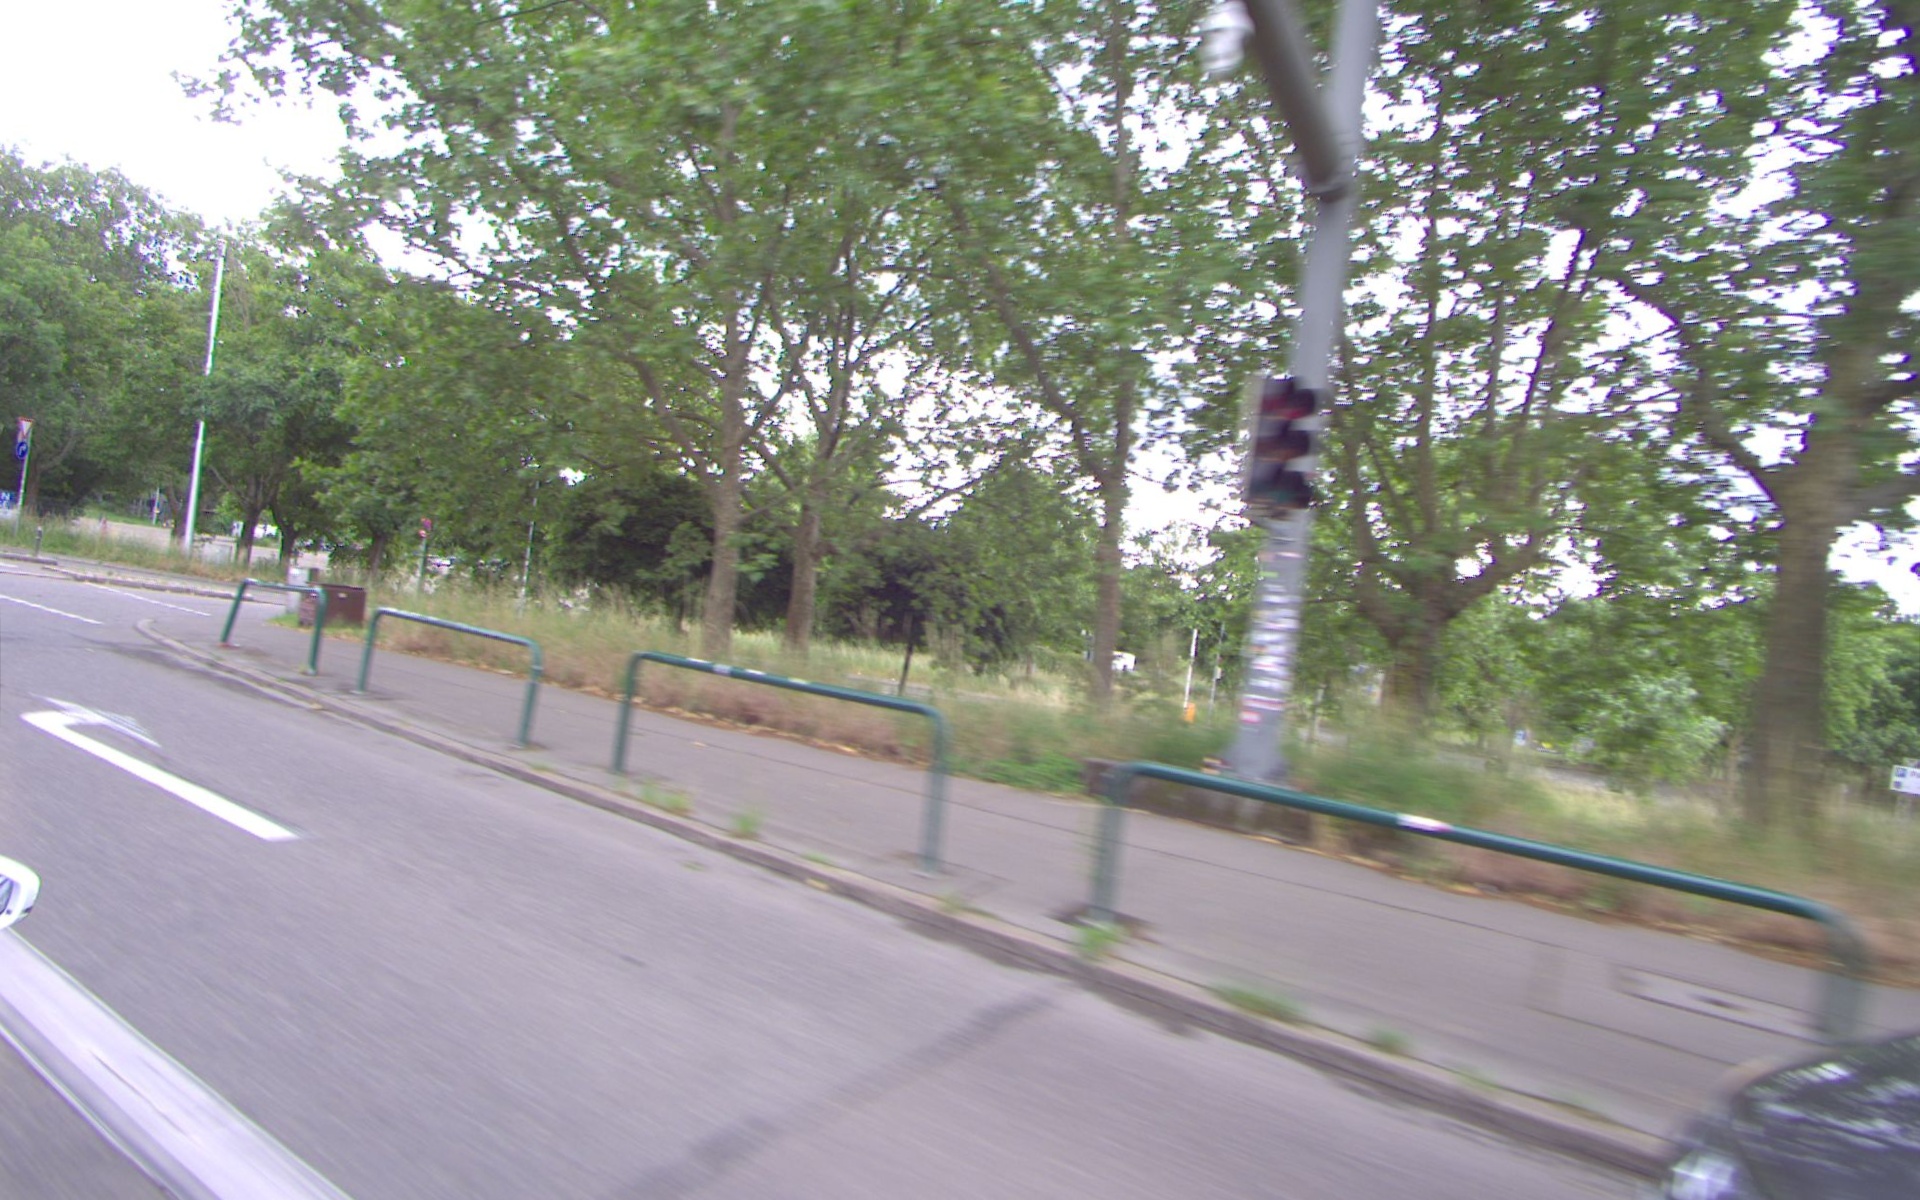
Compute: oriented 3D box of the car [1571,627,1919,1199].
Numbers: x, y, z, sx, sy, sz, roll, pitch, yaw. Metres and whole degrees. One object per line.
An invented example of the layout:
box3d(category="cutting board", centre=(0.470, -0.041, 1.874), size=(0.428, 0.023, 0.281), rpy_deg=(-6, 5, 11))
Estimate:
box3d(category="car", centre=(3.168, 1.178, 1.215), size=(3.967, 1.635, 1.830), rpy_deg=(8, -1, 32))
